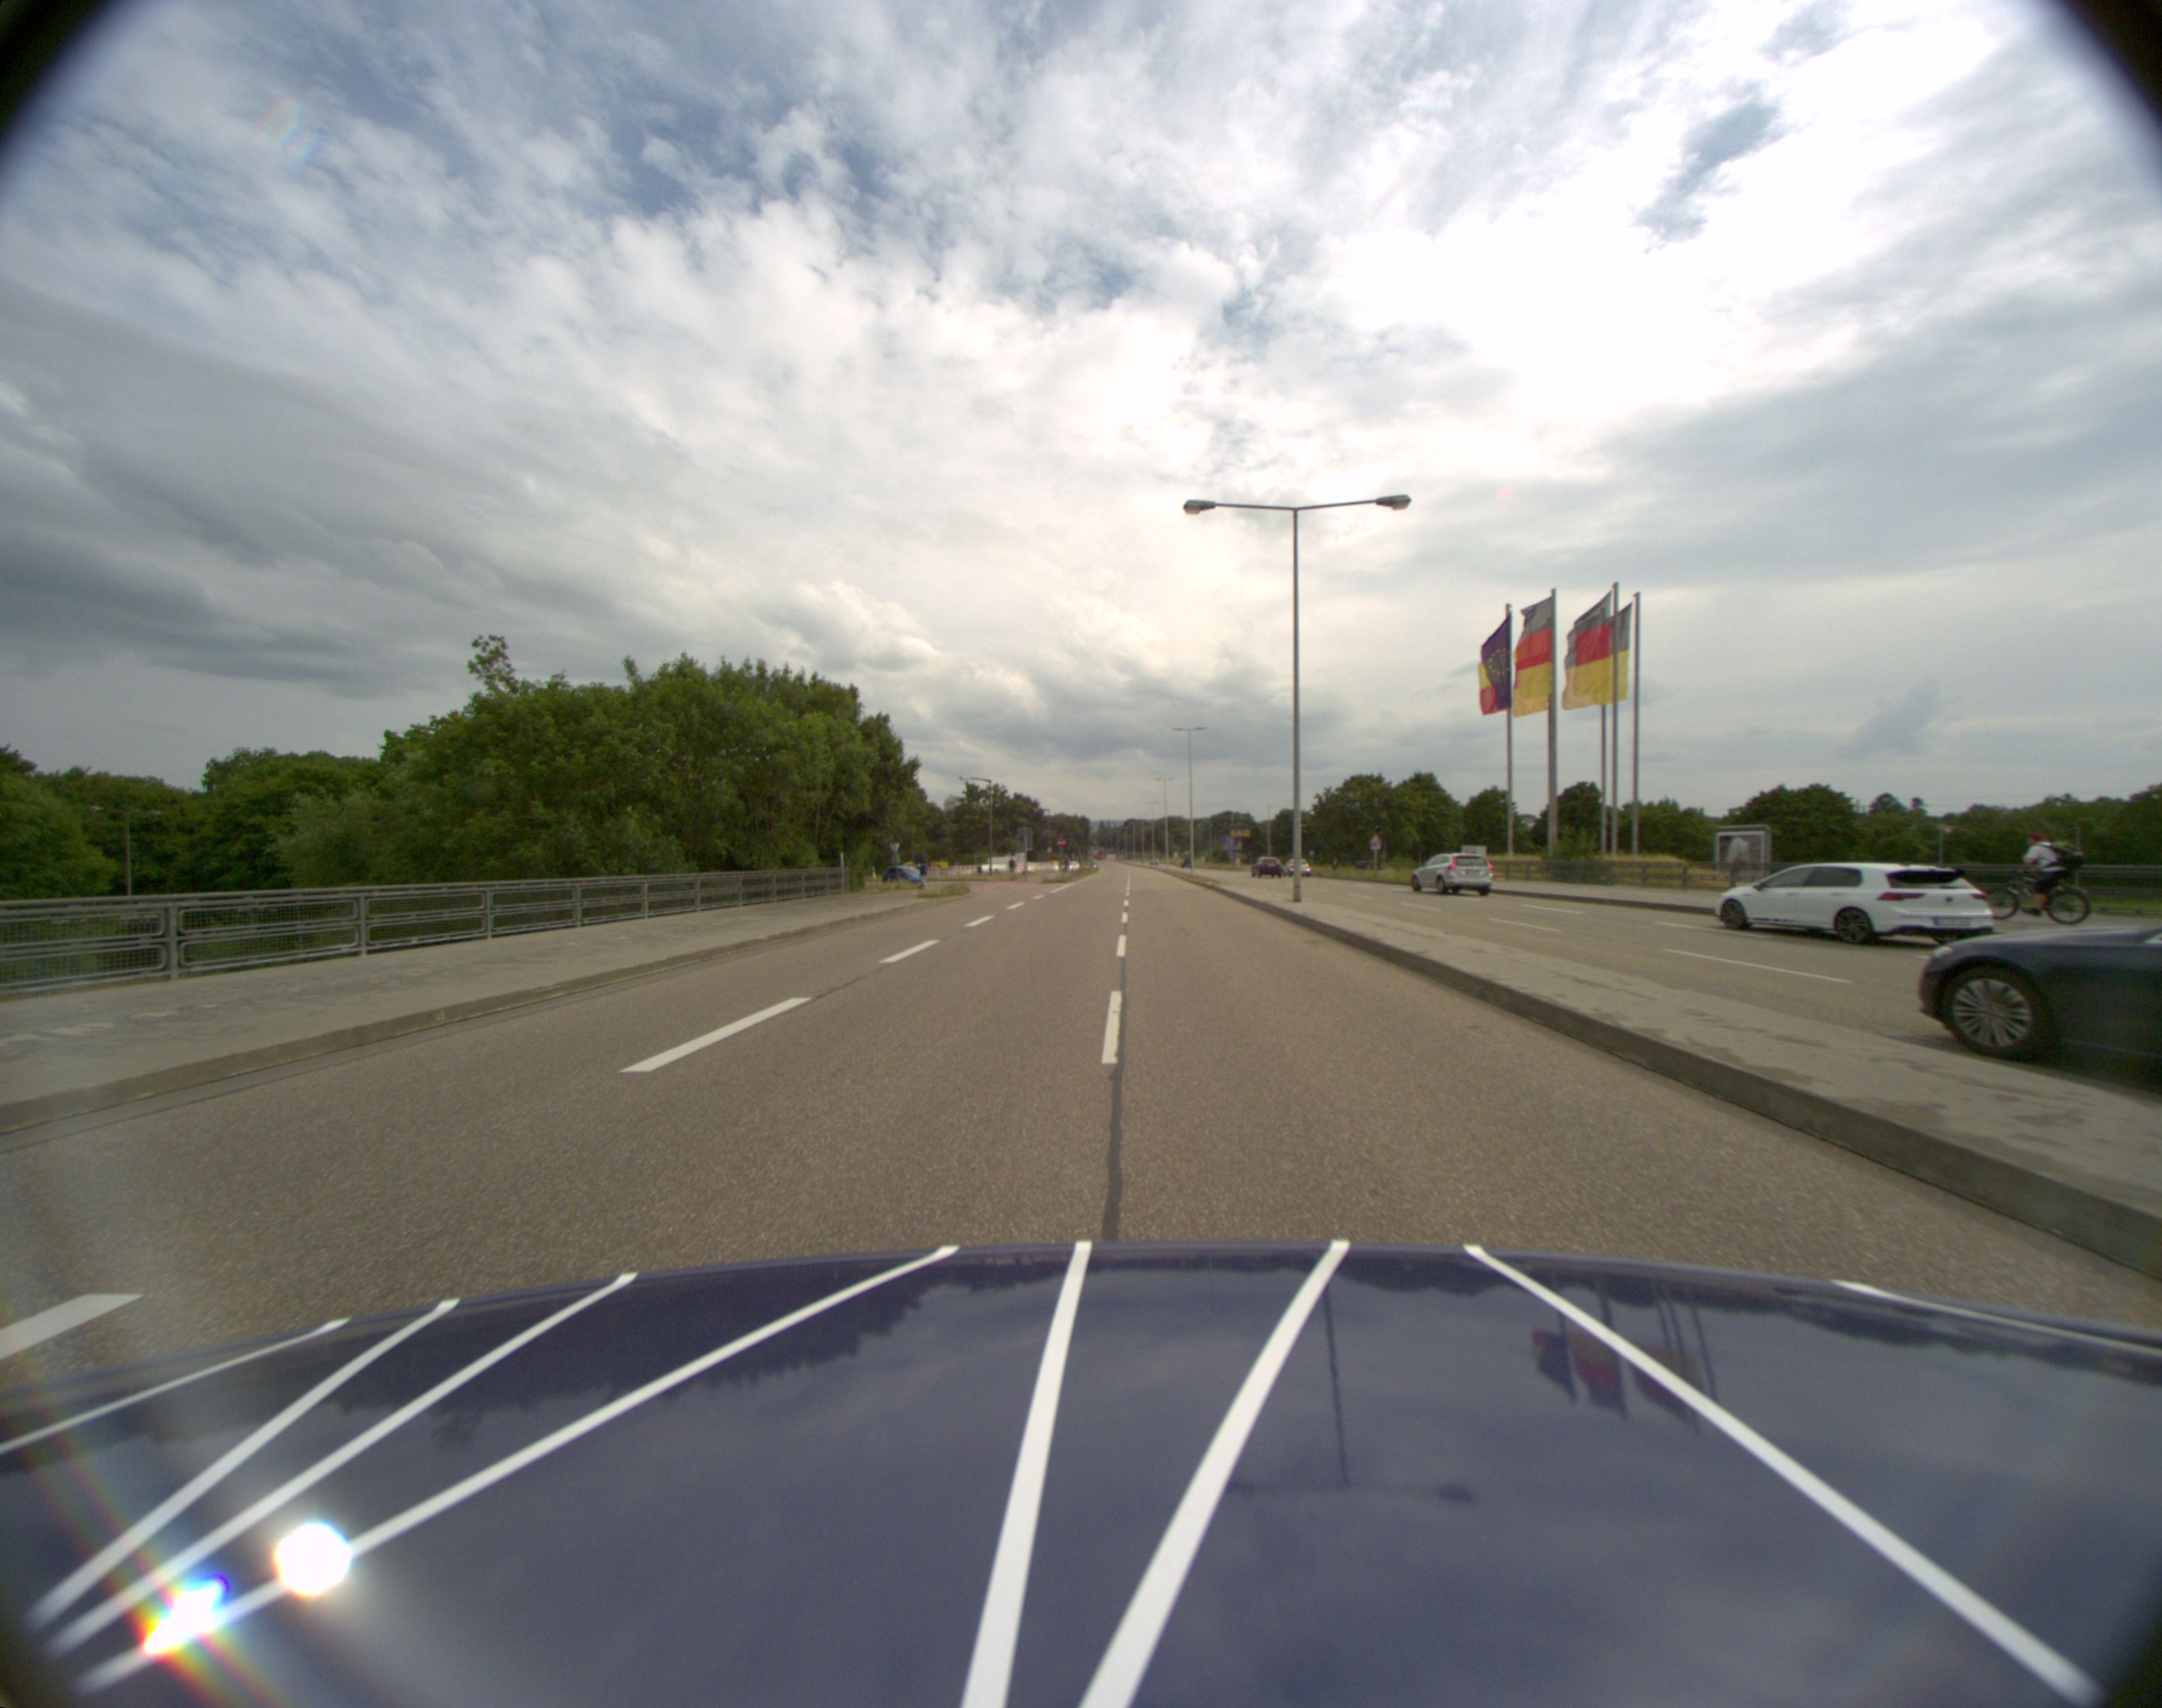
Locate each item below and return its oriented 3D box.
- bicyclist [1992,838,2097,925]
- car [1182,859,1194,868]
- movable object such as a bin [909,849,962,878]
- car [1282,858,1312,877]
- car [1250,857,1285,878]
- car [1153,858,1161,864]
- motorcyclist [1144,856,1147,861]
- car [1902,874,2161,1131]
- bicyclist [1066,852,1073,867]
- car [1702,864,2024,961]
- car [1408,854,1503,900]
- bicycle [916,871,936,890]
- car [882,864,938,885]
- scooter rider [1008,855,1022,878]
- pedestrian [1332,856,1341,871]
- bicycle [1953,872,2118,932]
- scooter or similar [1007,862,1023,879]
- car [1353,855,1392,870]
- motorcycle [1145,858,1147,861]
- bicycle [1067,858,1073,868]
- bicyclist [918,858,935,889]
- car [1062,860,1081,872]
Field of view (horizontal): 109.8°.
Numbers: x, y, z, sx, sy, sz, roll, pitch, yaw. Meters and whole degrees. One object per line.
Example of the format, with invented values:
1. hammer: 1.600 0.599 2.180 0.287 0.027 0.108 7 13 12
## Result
1. bicyclist: 18.814 0.512 14.864 0.797 1.617 0.976 -2 1 1
2. car: 17.732 1.571 125.934 1.767 1.432 4.178 1 0 4
3. movable object such as a bin: -14.174 0.908 74.044 4.510 2.673 2.103 -2 1 8
4. car: 18.044 1.097 63.576 1.653 1.506 4.018 1 0 5
5. car: 14.400 1.008 58.852 1.743 1.507 4.316 1 0 2
6. car: 19.828 1.911 197.335 1.851 1.591 4.562 0 0 3
7. motorcyclist: 19.825 1.356 233.052 0.772 1.579 0.896 1 0 2
8. car: 7.100 0.877 3.465 1.742 1.472 4.778 1 0 4
9. bicyclist: -1.245 0.622 83.065 0.653 1.648 0.876 -2 1 1
10. car: 14.557 0.984 14.615 1.742 1.472 4.472 1 0 4
11. car: 15.295 0.864 31.376 1.867 1.715 4.772 1 0 5
12. bicycle: -8.674 1.502 42.673 0.578 1.015 1.977 2 -2 3
13. car: -13.177 1.583 58.488 3.989 1.509 1.883 -2 0 33
14. scooter rider: -4.920 0.896 56.654 0.588 1.680 0.745 -2 1 31
15. pedestrian: 28.328 1.022 84.103 0.866 1.683 0.680 0 0 26
16. bicycle: 18.828 0.909 15.078 0.708 1.043 2.060 -2 0 1
17. scooter or similar: -4.910 1.206 56.663 0.588 1.217 1.205 -2 1 31
18. car: 41.611 1.198 108.429 5.513 1.882 1.849 2 0 -27
19. motorcycle: 19.801 1.755 232.990 0.524 0.961 2.220 0 0 2
20. bicycle: -1.214 0.975 82.913 0.575 1.141 1.982 0 -1 1
21. bicyclist: -8.673 1.101 42.653 0.666 1.649 0.806 -2 -2 3
22. car: -1.326 1.700 106.773 1.850 1.493 4.003 -3 0 10
